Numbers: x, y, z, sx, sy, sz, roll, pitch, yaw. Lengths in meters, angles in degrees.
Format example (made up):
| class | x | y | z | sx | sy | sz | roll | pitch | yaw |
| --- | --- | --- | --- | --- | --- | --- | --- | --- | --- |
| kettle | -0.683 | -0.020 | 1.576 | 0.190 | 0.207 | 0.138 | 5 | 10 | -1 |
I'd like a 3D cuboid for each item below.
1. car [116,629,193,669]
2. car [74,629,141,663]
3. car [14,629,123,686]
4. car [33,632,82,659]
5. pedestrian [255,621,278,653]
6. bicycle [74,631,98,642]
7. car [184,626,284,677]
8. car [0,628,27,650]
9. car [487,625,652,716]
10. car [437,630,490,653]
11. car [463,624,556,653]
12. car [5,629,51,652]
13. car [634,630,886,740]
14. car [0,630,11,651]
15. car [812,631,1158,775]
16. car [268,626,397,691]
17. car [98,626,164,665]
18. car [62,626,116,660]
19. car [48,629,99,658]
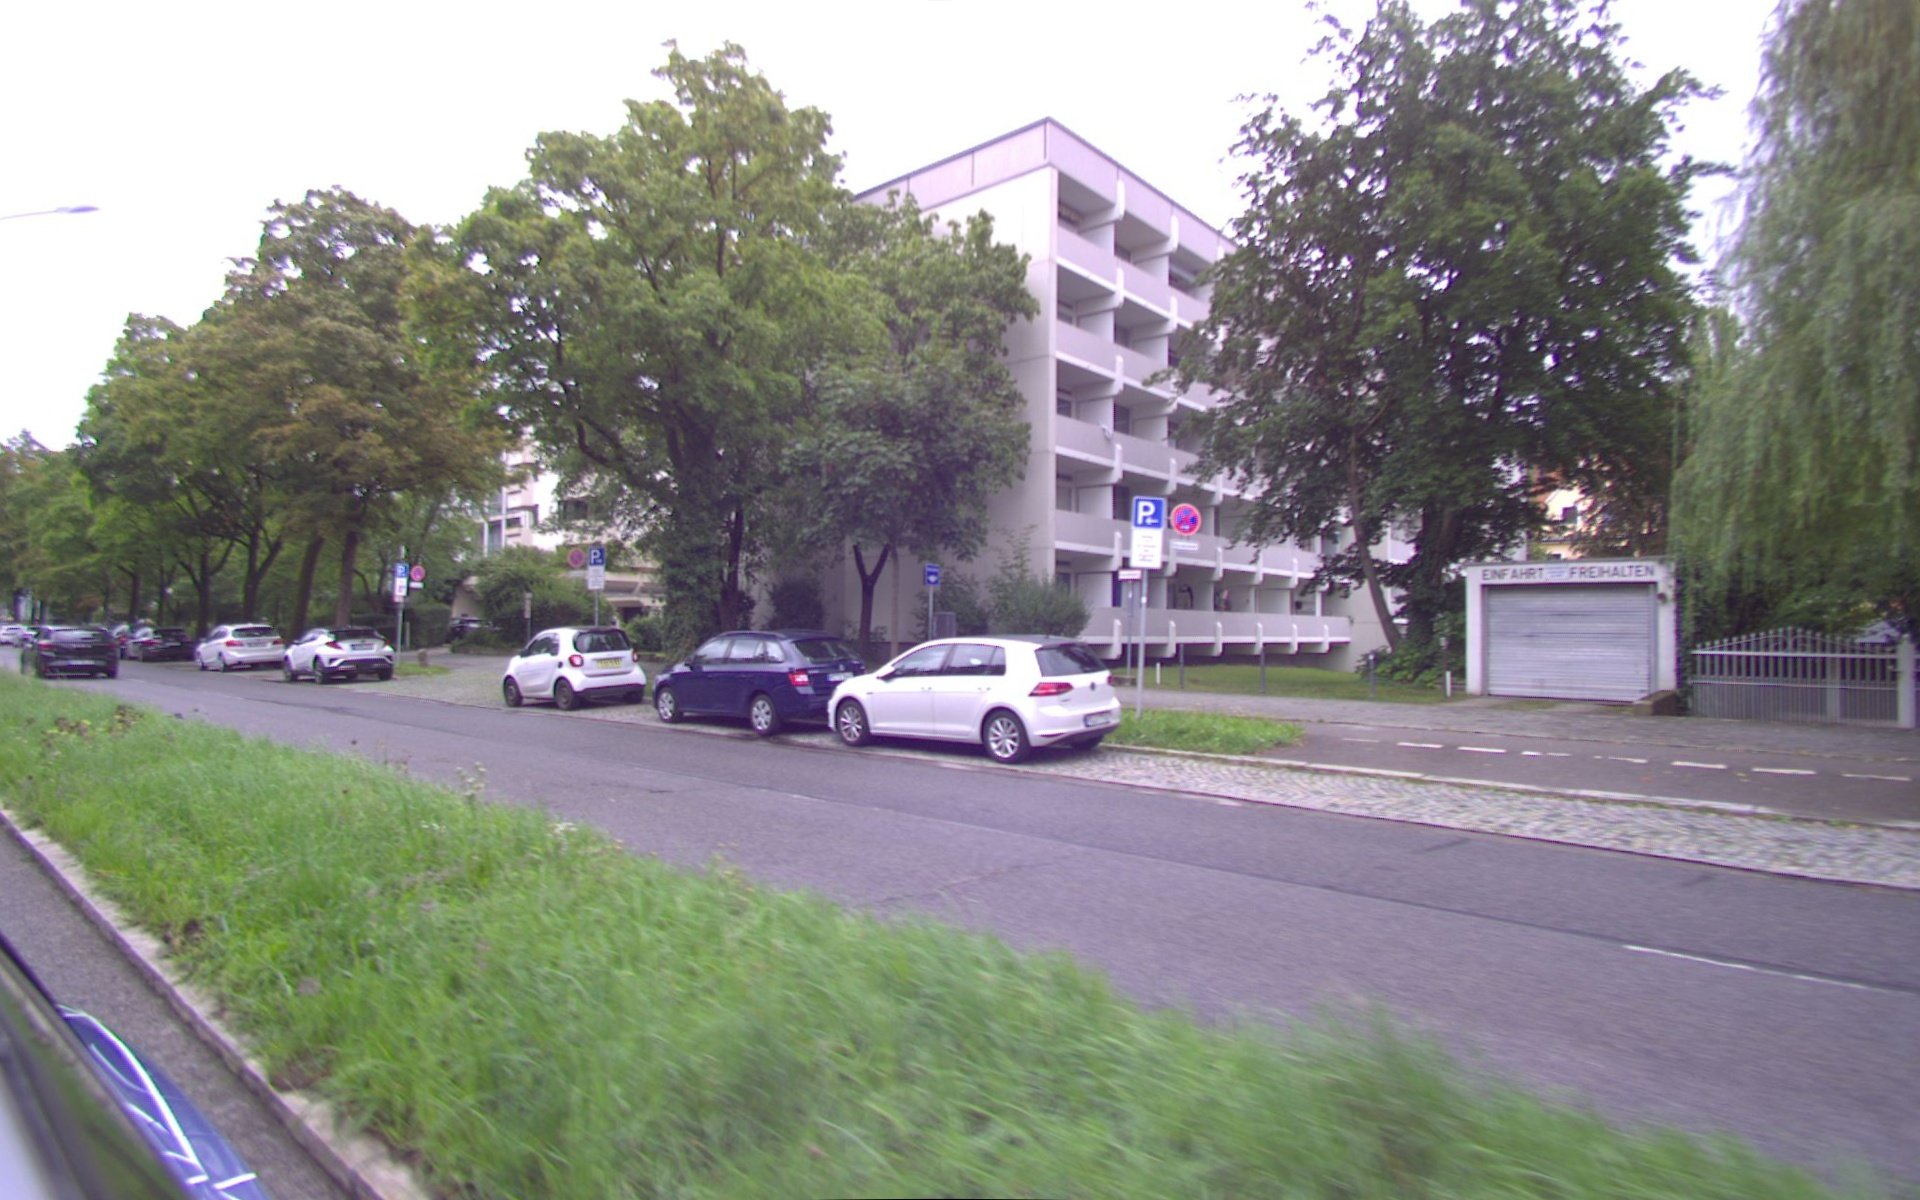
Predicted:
| class | x | y | z | sx | sy | sz | roll | pitch | yaw |
| --- | --- | --- | --- | --- | --- | --- | --- | --- | --- |
| car | -34.031 | 2.019 | 42.713 | 4.946 | 1.525 | 1.742 | -2 | 0 | 42 |
| car | -41.771 | 2.222 | 49.566 | 5.031 | 1.536 | 1.699 | -2 | 0 | 41 |
| car | -24.733 | 1.544 | 28.036 | 4.213 | 1.451 | 1.720 | -2 | -3 | 41 |
| car | -52.995 | 2.643 | 59.400 | 4.359 | 1.434 | 1.564 | -2 | 0 | 40 |
| pedestrian | -35.944 | 1.907 | 52.442 | 0.839 | 1.669 | 0.609 | 2 | -3 | -44 |
| bicycle | -84.848 | 3.543 | 98.265 | 0.436 | 1.014 | 1.744 | -2 | -3 | 40 |
| car | -24.966 | 1.728 | 34.751 | 4.485 | 1.607 | 1.739 | -2 | 0 | 40 |
| car | -70.453 | 2.867 | 74.824 | 4.473 | 1.541 | 1.721 | -2 | -1 | 41 |
| car | -7.681 | 1.315 | 19.841 | 3.076 | 1.577 | 1.674 | -1 | 0 | 39 |
| car | -26.340 | 2.197 | 53.693 | 3.125 | 1.209 | 1.440 | -2 | -2 | 42 |
| car | -23.028 | 1.964 | 51.784 | 1.861 | 1.429 | 3.937 | -2 | -2 | 39 |
| car | -63.047 | 2.708 | 68.426 | 4.819 | 1.459 | 1.719 | -2 | 0 | 41 |
| car | -3.215 | 1.219 | 15.827 | 4.213 | 1.486 | 1.657 | -1 | -2 | 41 |
| car | -78.005 | 3.262 | 81.489 | 4.601 | 1.664 | 1.722 | -2 | 0 | 39 |
| car | 0.179 | 1.161 | 12.852 | 4.318 | 1.454 | 1.657 | -2 | 0 | 42 |
| car | -17.504 | 1.565 | 28.146 | 4.489 | 1.621 | 1.813 | -2 | 0 | 42 |
| car | -37.600 | 2.032 | 45.850 | 4.208 | 1.609 | 1.668 | -2 | 0 | 42 |
| car | -45.643 | 2.241 | 52.997 | 3.866 | 1.660 | 1.608 | -2 | 0 | 42 |
| car | -49.029 | 2.378 | 55.972 | 4.190 | 1.434 | 1.608 | -2 | 0 | 42 |
